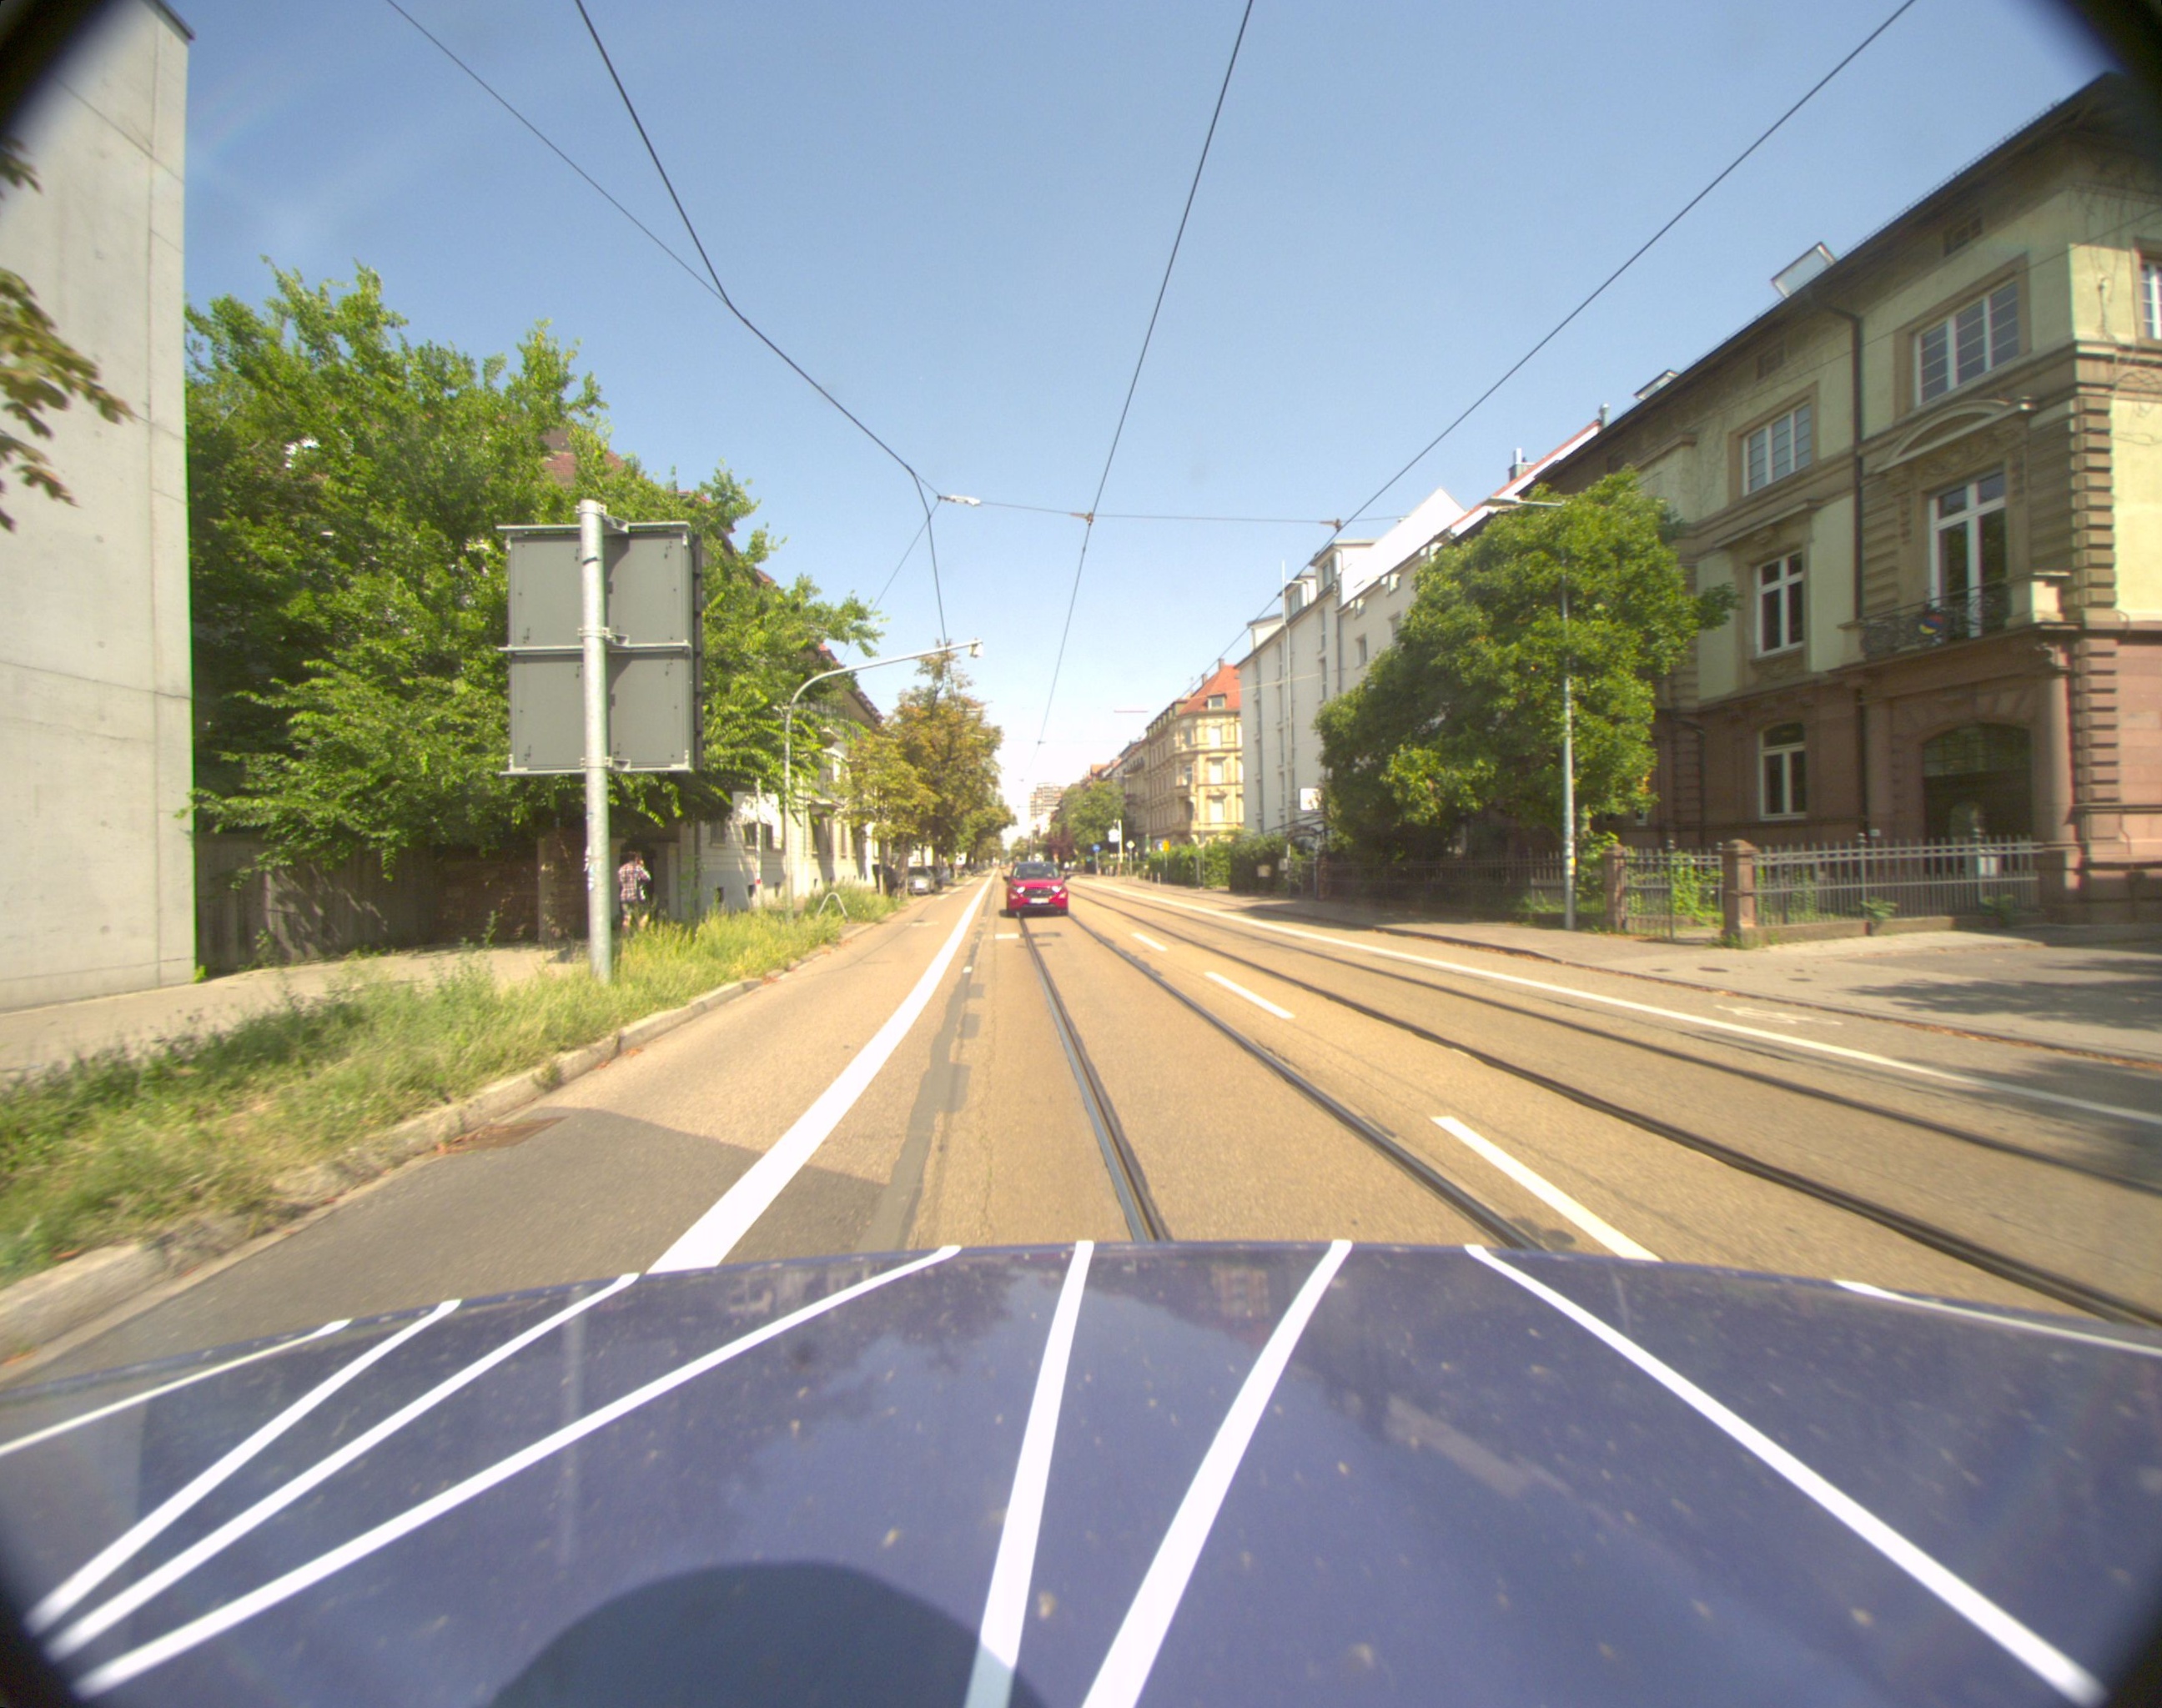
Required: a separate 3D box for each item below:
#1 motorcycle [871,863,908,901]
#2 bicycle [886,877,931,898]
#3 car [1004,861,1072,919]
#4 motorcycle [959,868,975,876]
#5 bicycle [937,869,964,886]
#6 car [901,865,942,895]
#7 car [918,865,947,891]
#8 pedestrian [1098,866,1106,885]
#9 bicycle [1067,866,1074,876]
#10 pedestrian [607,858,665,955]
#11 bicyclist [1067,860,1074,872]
[{"bbox_3d":[-8.134,1.176,32.398,0.888,1.543,2.412,0,0,2],"label":"motorcycle"},{"bbox_3d":[-8.165,1.590,36.014,1.928,0.947,0.721,-1,0,-3],"label":"bicycle"},{"bbox_3d":[-1.343,1.022,22.831,1.816,1.542,4.020,-2,-1,-5],"label":"car"},{"bbox_3d":[-14.503,2.304,96.870,2.001,1.009,0.796,2,-1,-6],"label":"motorcycle"},{"bbox_3d":[-8.922,1.618,51.844,1.760,1.116,0.655,-1,0,-6],"label":"bicycle"},{"bbox_3d":[-8.212,1.293,39.486,1.788,1.442,4.748,0,-1,-8],"label":"car"},{"bbox_3d":[-9.184,1.445,47.233,1.669,1.498,4.431,0,-1,-10],"label":"car"},{"bbox_3d":[2.224,2.246,80.180,0.657,2.001,0.974,-1,0,-8],"label":"pedestrian"},{"bbox_3d":[-1.220,1.986,88.557,0.642,1.070,1.914,-1,-1,-8],"label":"bicycle"},{"bbox_3d":[-8.086,0.935,13.825,0.694,1.722,0.579,-1,0,-4],"label":"pedestrian"},{"bbox_3d":[-1.243,1.362,88.618,0.657,1.420,0.974,-1,-1,-8],"label":"bicyclist"}]
